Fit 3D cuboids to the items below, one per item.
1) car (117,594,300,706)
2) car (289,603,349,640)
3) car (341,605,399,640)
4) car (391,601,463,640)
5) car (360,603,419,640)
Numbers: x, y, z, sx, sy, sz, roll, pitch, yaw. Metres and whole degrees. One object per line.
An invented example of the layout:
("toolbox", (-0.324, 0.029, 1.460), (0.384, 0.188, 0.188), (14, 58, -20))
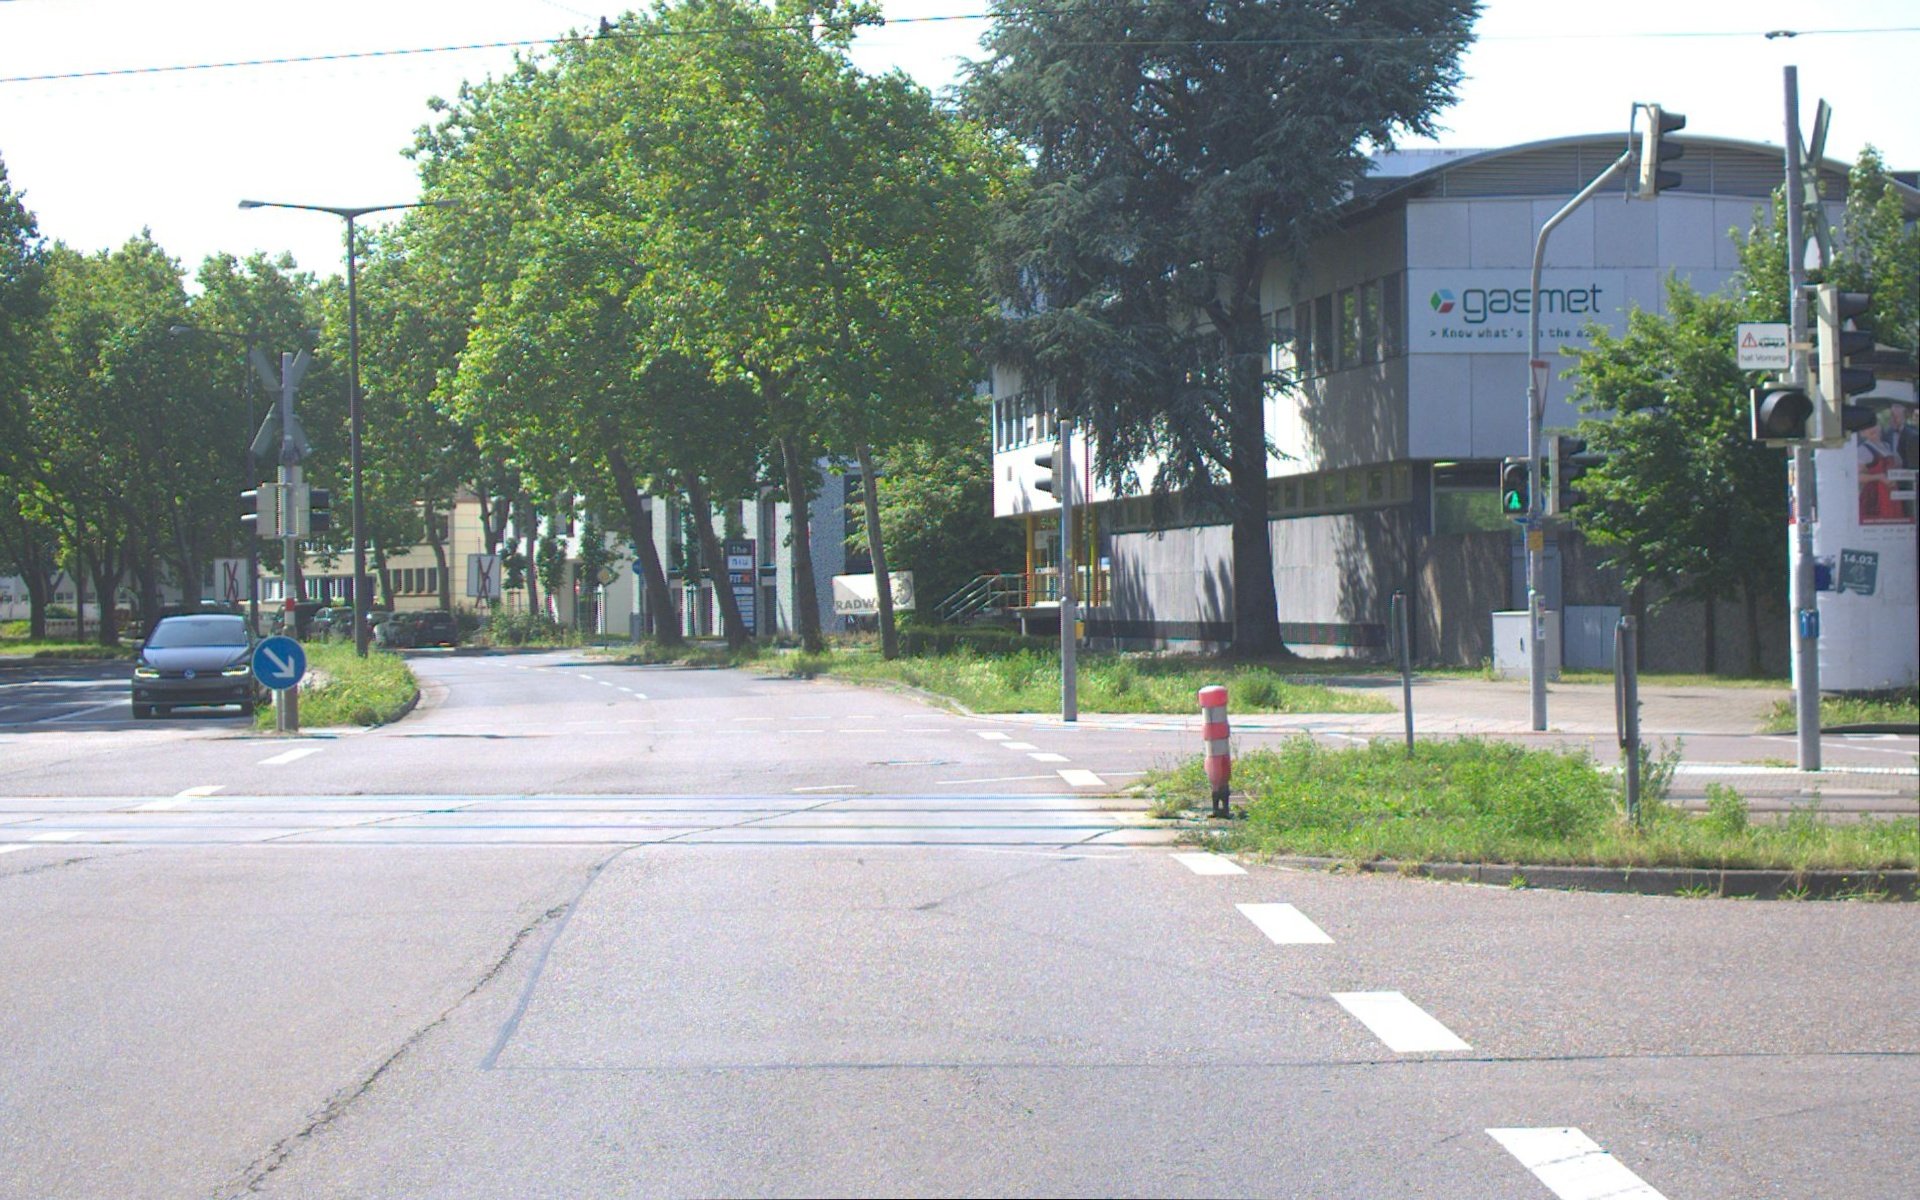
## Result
("car", (-10.795, 0.688, 49.628), (1.694, 1.503, 4.129), (-1, 0, 0))
("car", (-30.055, 1.002, 161.105), (1.706, 1.664, 4.534), (-1, 1, -25))
("car", (-25.703, 0.953, 149.675), (1.706, 1.450, 4.657), (-1, 1, -20))
("car", (-21.668, 0.827, 139.662), (1.706, 1.482, 4.720), (-2, 1, -24))
("car", (-24.029, 0.903, 144.746), (1.706, 1.482, 4.102), (-1, 1, -20))
